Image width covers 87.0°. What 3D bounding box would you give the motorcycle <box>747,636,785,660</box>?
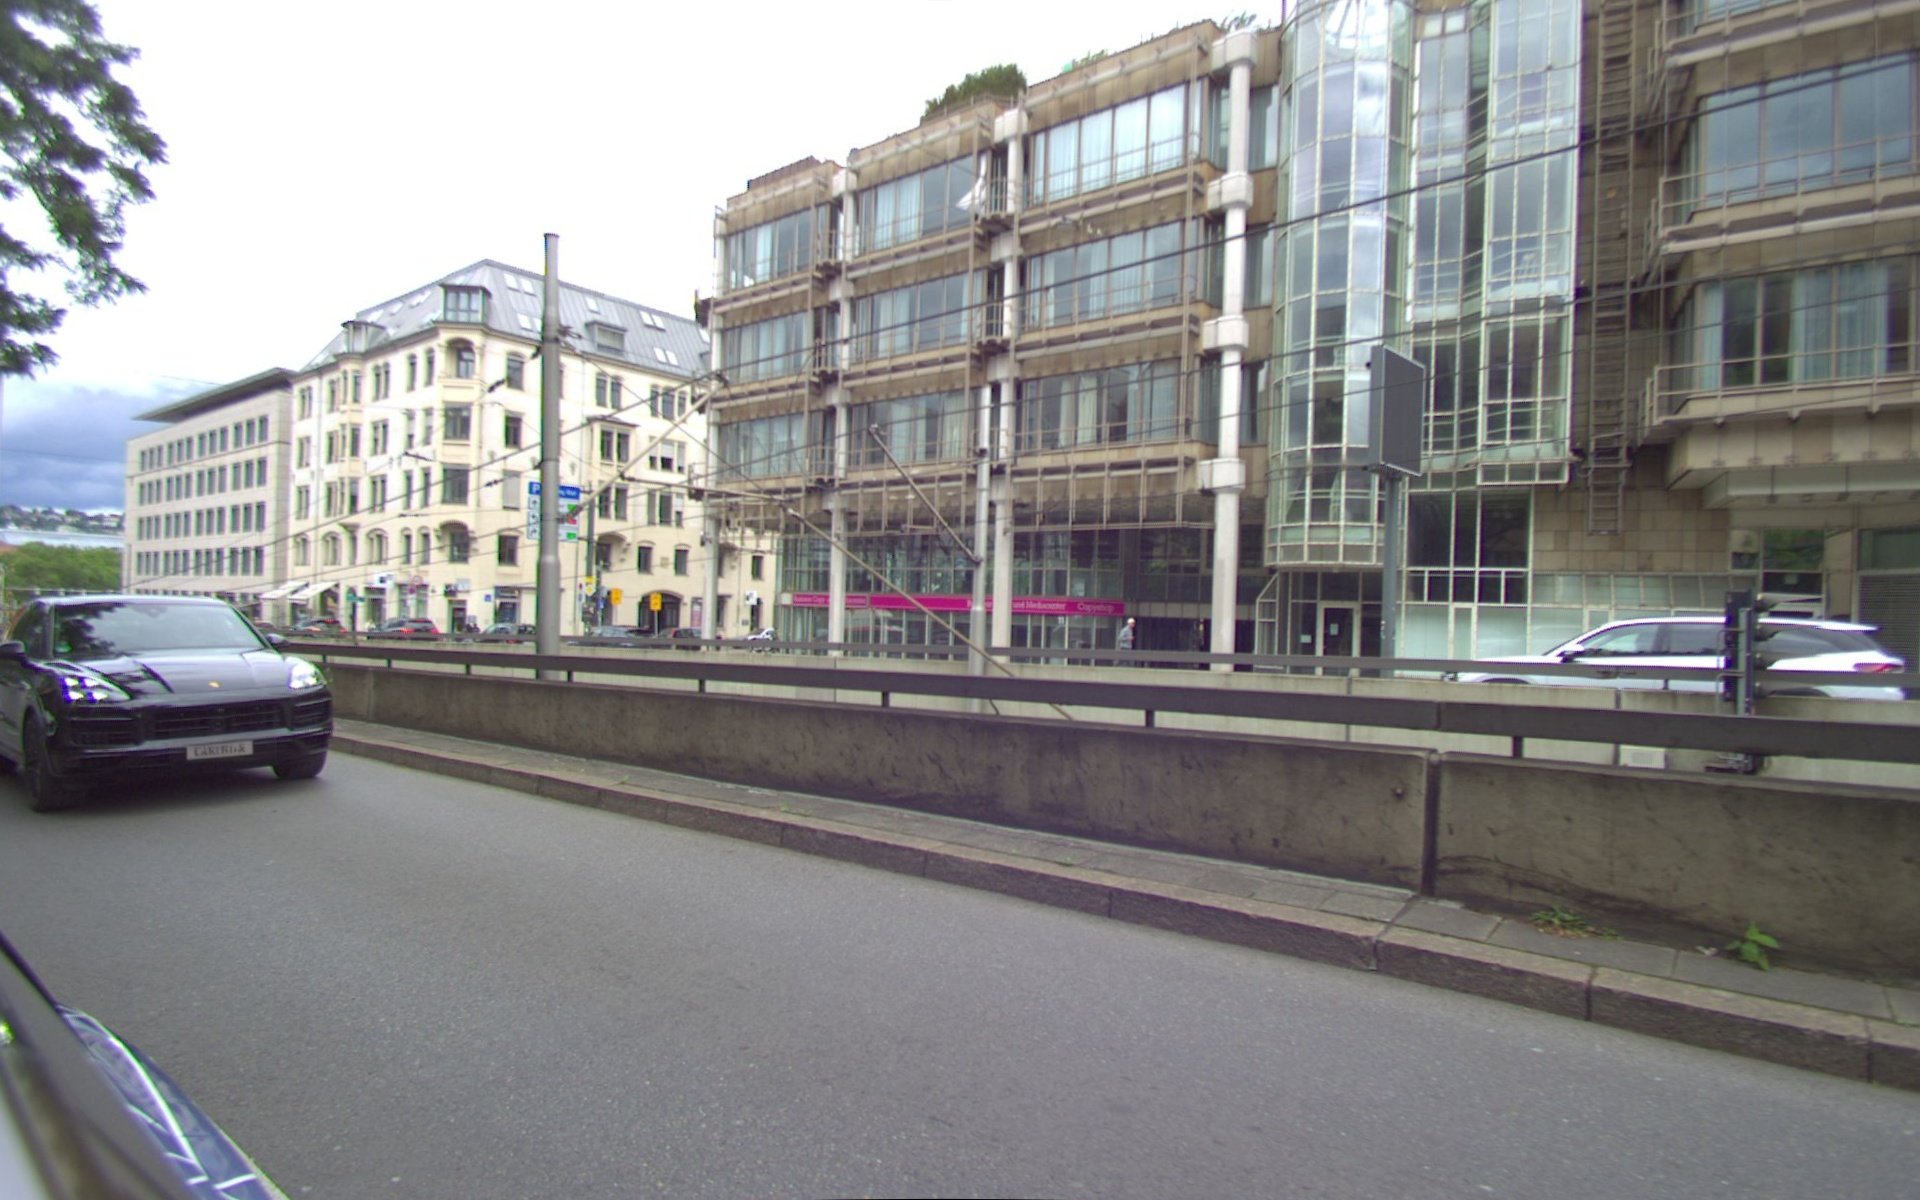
[{"bbox_3d":[-9.074,2.240,47.423,1.660,1.083,0.640,0,0,20],"label":"motorcycle"}]

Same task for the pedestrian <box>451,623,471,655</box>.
[{"bbox_3d":[-27.311,2.144,55.349,0.684,1.724,0.705,-1,-2,29],"label":"pedestrian"}]

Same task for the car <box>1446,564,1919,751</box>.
[{"bbox_3d":[8.573,0.574,12.223,4.597,1.856,1.817,0,2,37],"label":"car"}]

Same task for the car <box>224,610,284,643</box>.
[{"bbox_3d":[-45.233,1.677,64.775,4.786,2.029,1.974,0,0,40],"label":"car"}]

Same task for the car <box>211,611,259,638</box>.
[{"bbox_3d":[-55.564,1.889,77.574,3.996,2.029,1.974,-1,-2,40],"label":"car"}]

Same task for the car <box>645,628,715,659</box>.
[{"bbox_3d":[-15.706,2.445,56.919,1.647,1.674,3.556,-1,-2,36],"label":"car"}]

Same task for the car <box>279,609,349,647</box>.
[{"bbox_3d":[-36.565,1.545,57.248,4.786,2.029,1.974,0,0,40],"label":"car"}]

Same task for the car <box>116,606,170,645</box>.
[{"bbox_3d":[-65.990,2.015,81.696,5.464,3.083,2.340,0,0,40],"label":"car"}]

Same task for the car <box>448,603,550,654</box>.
[{"bbox_3d":[-19.739,1.169,43.227,4.784,1.978,1.975,0,2,39],"label":"car"}]

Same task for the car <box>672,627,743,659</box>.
[{"bbox_3d":[-13.846,2.335,55.689,1.647,1.674,3.556,-1,-2,36],"label":"car"}]

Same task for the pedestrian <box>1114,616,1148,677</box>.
[{"bbox_3d":[5.169,1.387,30.524,0.739,1.806,0.723,-1,-1,40],"label":"pedestrian"}]

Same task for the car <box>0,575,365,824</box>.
[{"bbox_3d":[-7.691,0.722,9.383,5.347,1.688,2.062,-1,-1,40],"label":"car"}]

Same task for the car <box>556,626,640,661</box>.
[{"bbox_3d":[-17.981,2.145,50.386,1.647,1.674,3.605,-1,-2,36],"label":"car"}]

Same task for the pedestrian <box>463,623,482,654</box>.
[{"bbox_3d":[-27.081,2.146,56.222,0.684,1.724,0.705,-1,-2,29],"label":"pedestrian"}]

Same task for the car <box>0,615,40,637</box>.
[{"bbox_3d":[-88.426,2.412,95.156,4.785,2.029,2.089,0,0,39],"label":"car"}]

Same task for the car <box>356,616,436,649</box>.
[{"bbox_3d":[-27.902,1.576,50.005,4.636,1.572,1.796,-1,-2,38],"label":"car"}]

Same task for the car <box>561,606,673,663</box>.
[{"bbox_3d":[-12.809,1.215,37.655,4.375,1.929,1.974,1,0,40],"label":"car"}]
